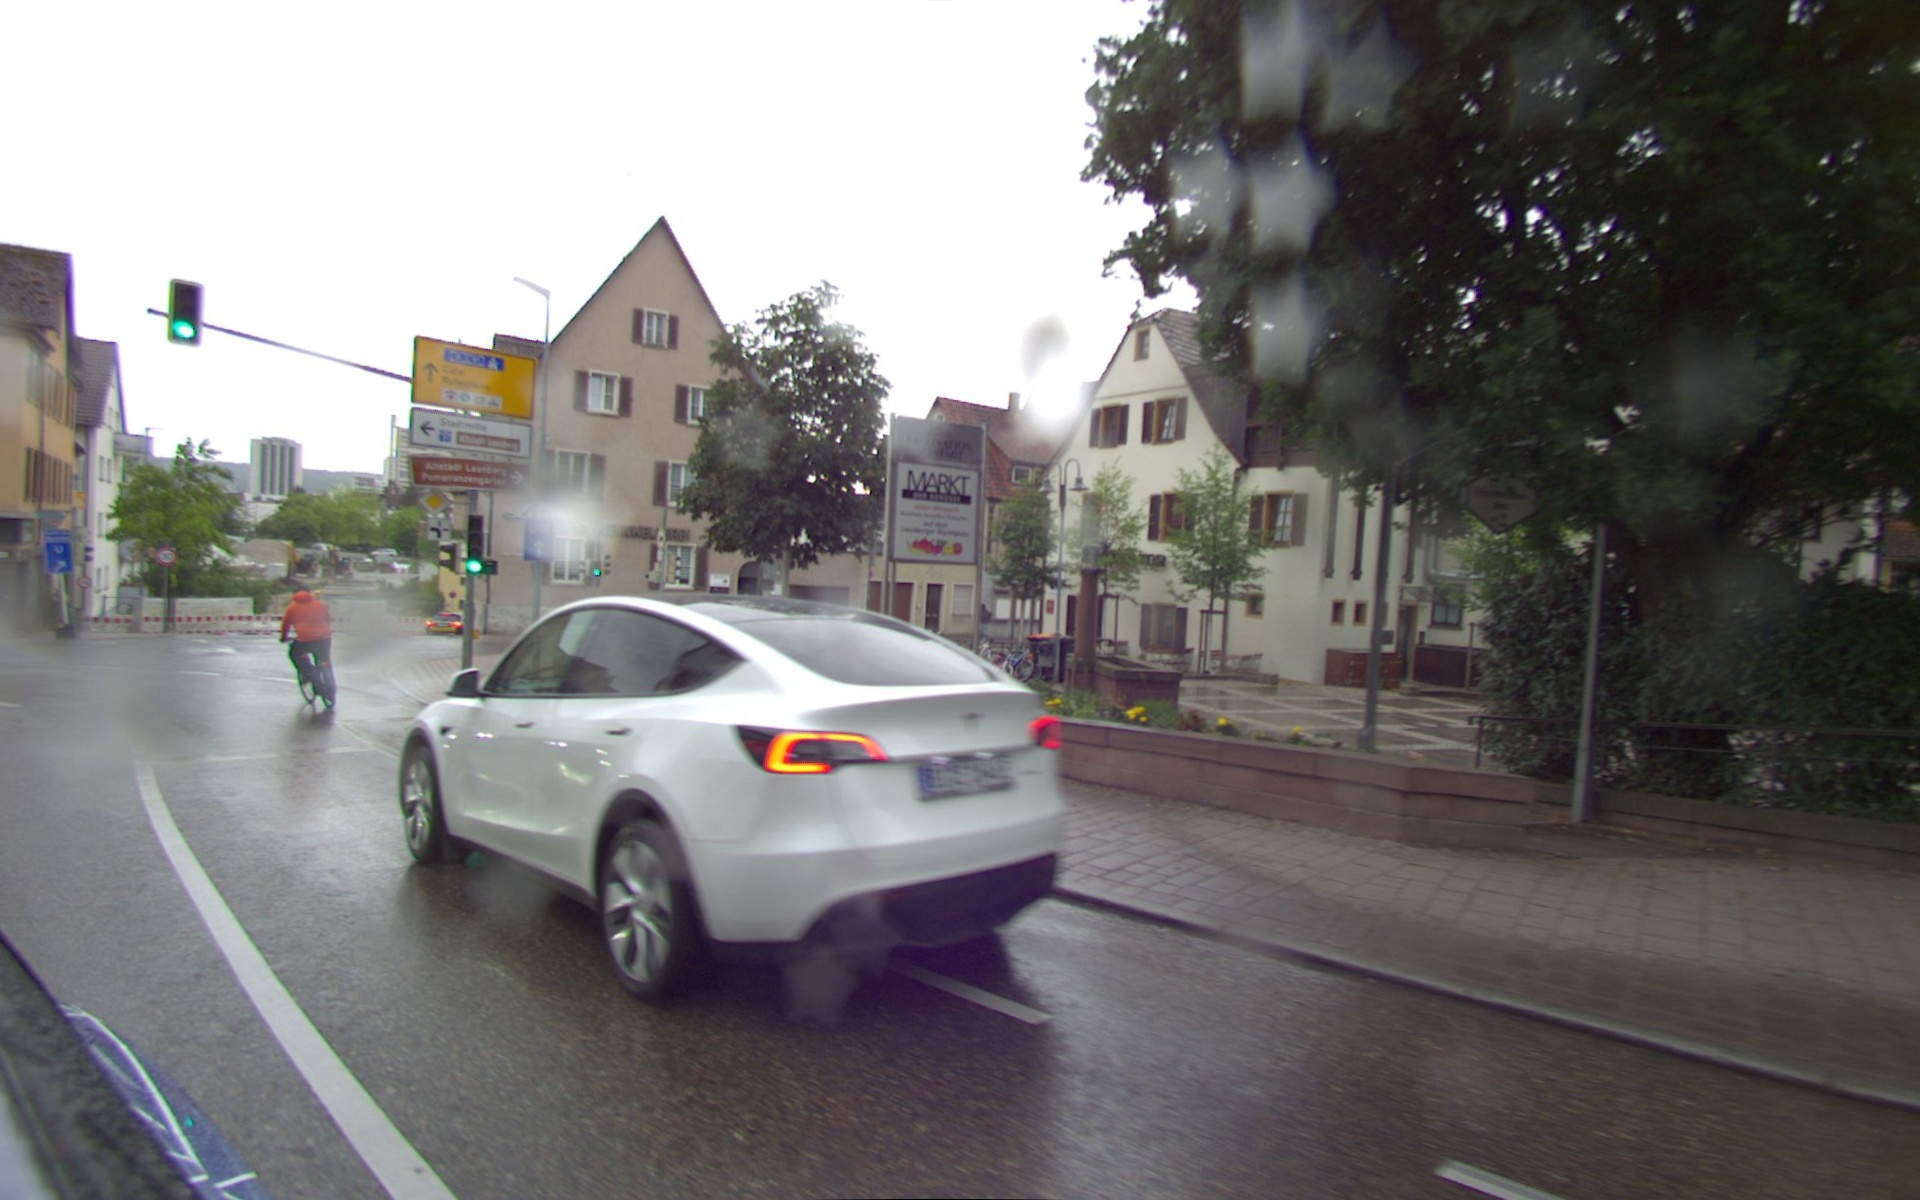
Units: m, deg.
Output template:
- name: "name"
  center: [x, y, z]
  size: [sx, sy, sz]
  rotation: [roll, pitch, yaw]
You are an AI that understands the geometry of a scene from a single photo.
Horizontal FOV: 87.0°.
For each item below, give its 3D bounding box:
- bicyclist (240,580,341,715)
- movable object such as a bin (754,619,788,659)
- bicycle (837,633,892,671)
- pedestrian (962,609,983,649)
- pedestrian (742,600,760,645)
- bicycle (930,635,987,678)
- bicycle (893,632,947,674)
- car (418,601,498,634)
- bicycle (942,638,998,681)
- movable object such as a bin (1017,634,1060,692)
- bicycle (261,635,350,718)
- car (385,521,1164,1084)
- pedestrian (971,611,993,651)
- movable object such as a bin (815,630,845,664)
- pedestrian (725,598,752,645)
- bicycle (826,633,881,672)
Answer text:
- name: "bicyclist"
  center: [-10.496, 0.744, 15.882]
  size: [1.123, 2.029, 0.880]
  rotation: [3, -4, -44]
- name: "movable object such as a bin"
  center: [-5.468, 1.127, 29.338]
  size: [0.777, 0.933, 0.726]
  rotation: [4, -20, 1]
- name: "bicycle"
  center: [-2.566, 1.390, 27.188]
  size: [1.461, 0.919, 0.389]
  rotation: [2, 4, 25]
- name: "pedestrian"
  center: [0.566, 1.308, 45.548]
  size: [0.620, 1.745, 0.784]
  rotation: [0, 1, -32]
- name: "pedestrian"
  center: [-8.466, 0.906, 41.015]
  size: [0.528, 1.741, 0.558]
  rotation: [3, 2, -27]
- name: "bicycle"
  center: [-0.038, 1.356, 24.606]
  size: [1.468, 0.918, 0.388]
  rotation: [3, 5, 38]
- name: "bicycle"
  center: [-1.035, 1.338, 25.772]
  size: [1.468, 0.918, 0.388]
  rotation: [3, 5, 38]
- name: "car"
  center: [-24.747, 0.837, 50.079]
  size: [1.971, 1.550, 4.416]
  rotation: [-1, 0, -3]
- name: "bicycle"
  center: [0.240, 1.444, 24.925]
  size: [1.468, 0.918, 0.388]
  rotation: [3, 5, 38]
- name: "movable object such as a bin"
  center: [1.850, 1.475, 23.870]
  size: [0.735, 1.285, 0.688]
  rotation: [0, 4, -27]
- name: "bicycle"
  center: [-10.370, 1.165, 16.008]
  size: [0.739, 1.172, 2.158]
  rotation: [2, -1, -45]
- name: "car"
  center: [-1.284, 0.706, 5.238]
  size: [1.852, 1.675, 4.311]
  rotation: [4, -5, -44]
- name: "pedestrian"
  center: [0.980, 1.354, 44.865]
  size: [0.620, 1.745, 0.784]
  rotation: [0, 1, -32]
- name: "movable object such as a bin"
  center: [-3.760, 1.353, 29.270]
  size: [0.588, 0.908, 0.577]
  rotation: [3, 3, 38]
- name: "pedestrian"
  center: [-8.874, 0.844, 40.552]
  size: [0.798, 1.844, 0.705]
  rotation: [-1, 0, 39]
- name: "bicycle"
  center: [-2.817, 1.387, 26.792]
  size: [1.461, 0.919, 0.389]
  rotation: [2, 4, 25]
